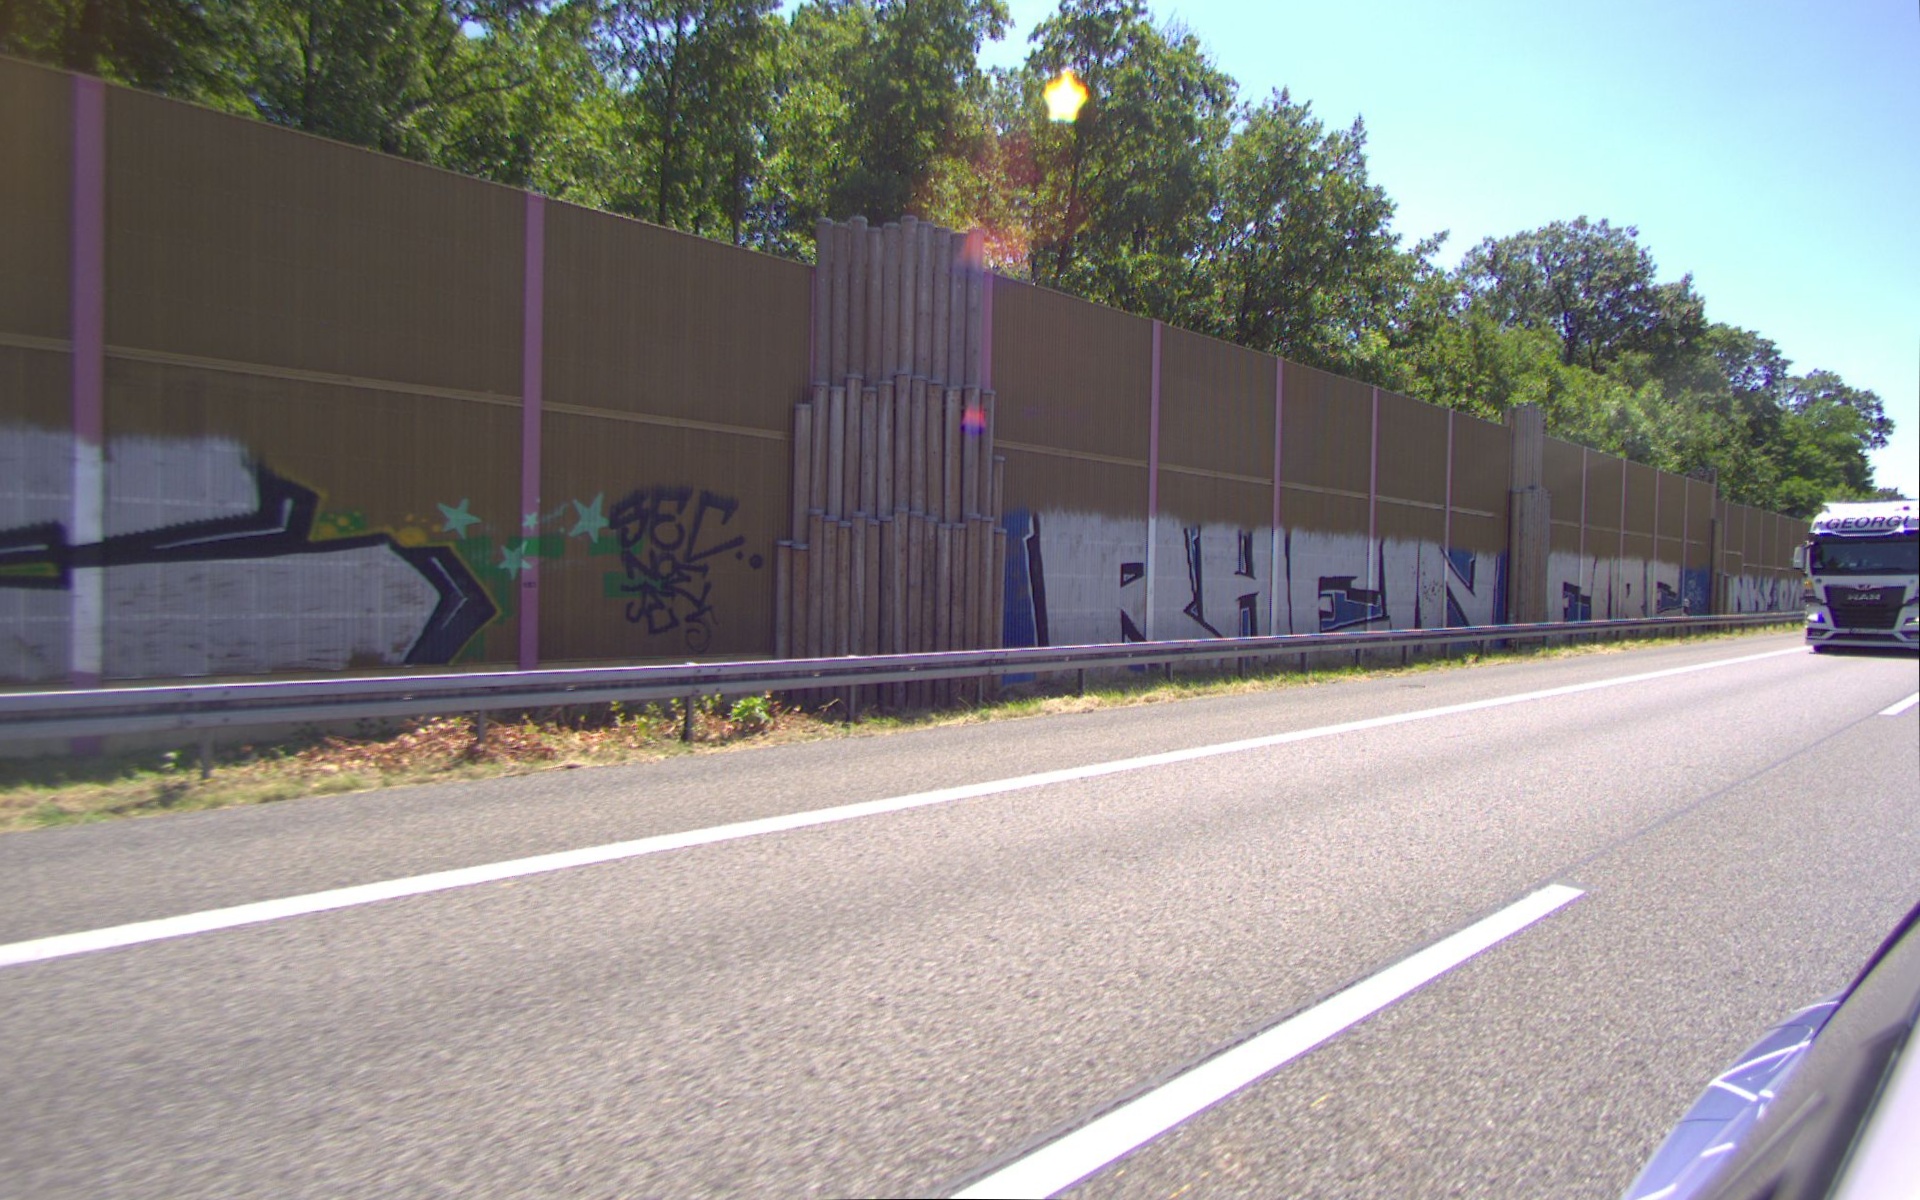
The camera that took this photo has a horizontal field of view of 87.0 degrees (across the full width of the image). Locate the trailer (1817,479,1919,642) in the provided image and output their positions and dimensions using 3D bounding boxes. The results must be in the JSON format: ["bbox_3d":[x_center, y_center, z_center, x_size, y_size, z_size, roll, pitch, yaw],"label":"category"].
[{"bbox_3d":[30.004,-1.124,31.646,13.185,4.343,2.998,-1,1,-41],"label":"trailer"}]

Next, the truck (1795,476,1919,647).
[{"bbox_3d":[24.772,-0.985,27.055,5.162,4.176,3.008,-1,1,-41],"label":"truck"}]
